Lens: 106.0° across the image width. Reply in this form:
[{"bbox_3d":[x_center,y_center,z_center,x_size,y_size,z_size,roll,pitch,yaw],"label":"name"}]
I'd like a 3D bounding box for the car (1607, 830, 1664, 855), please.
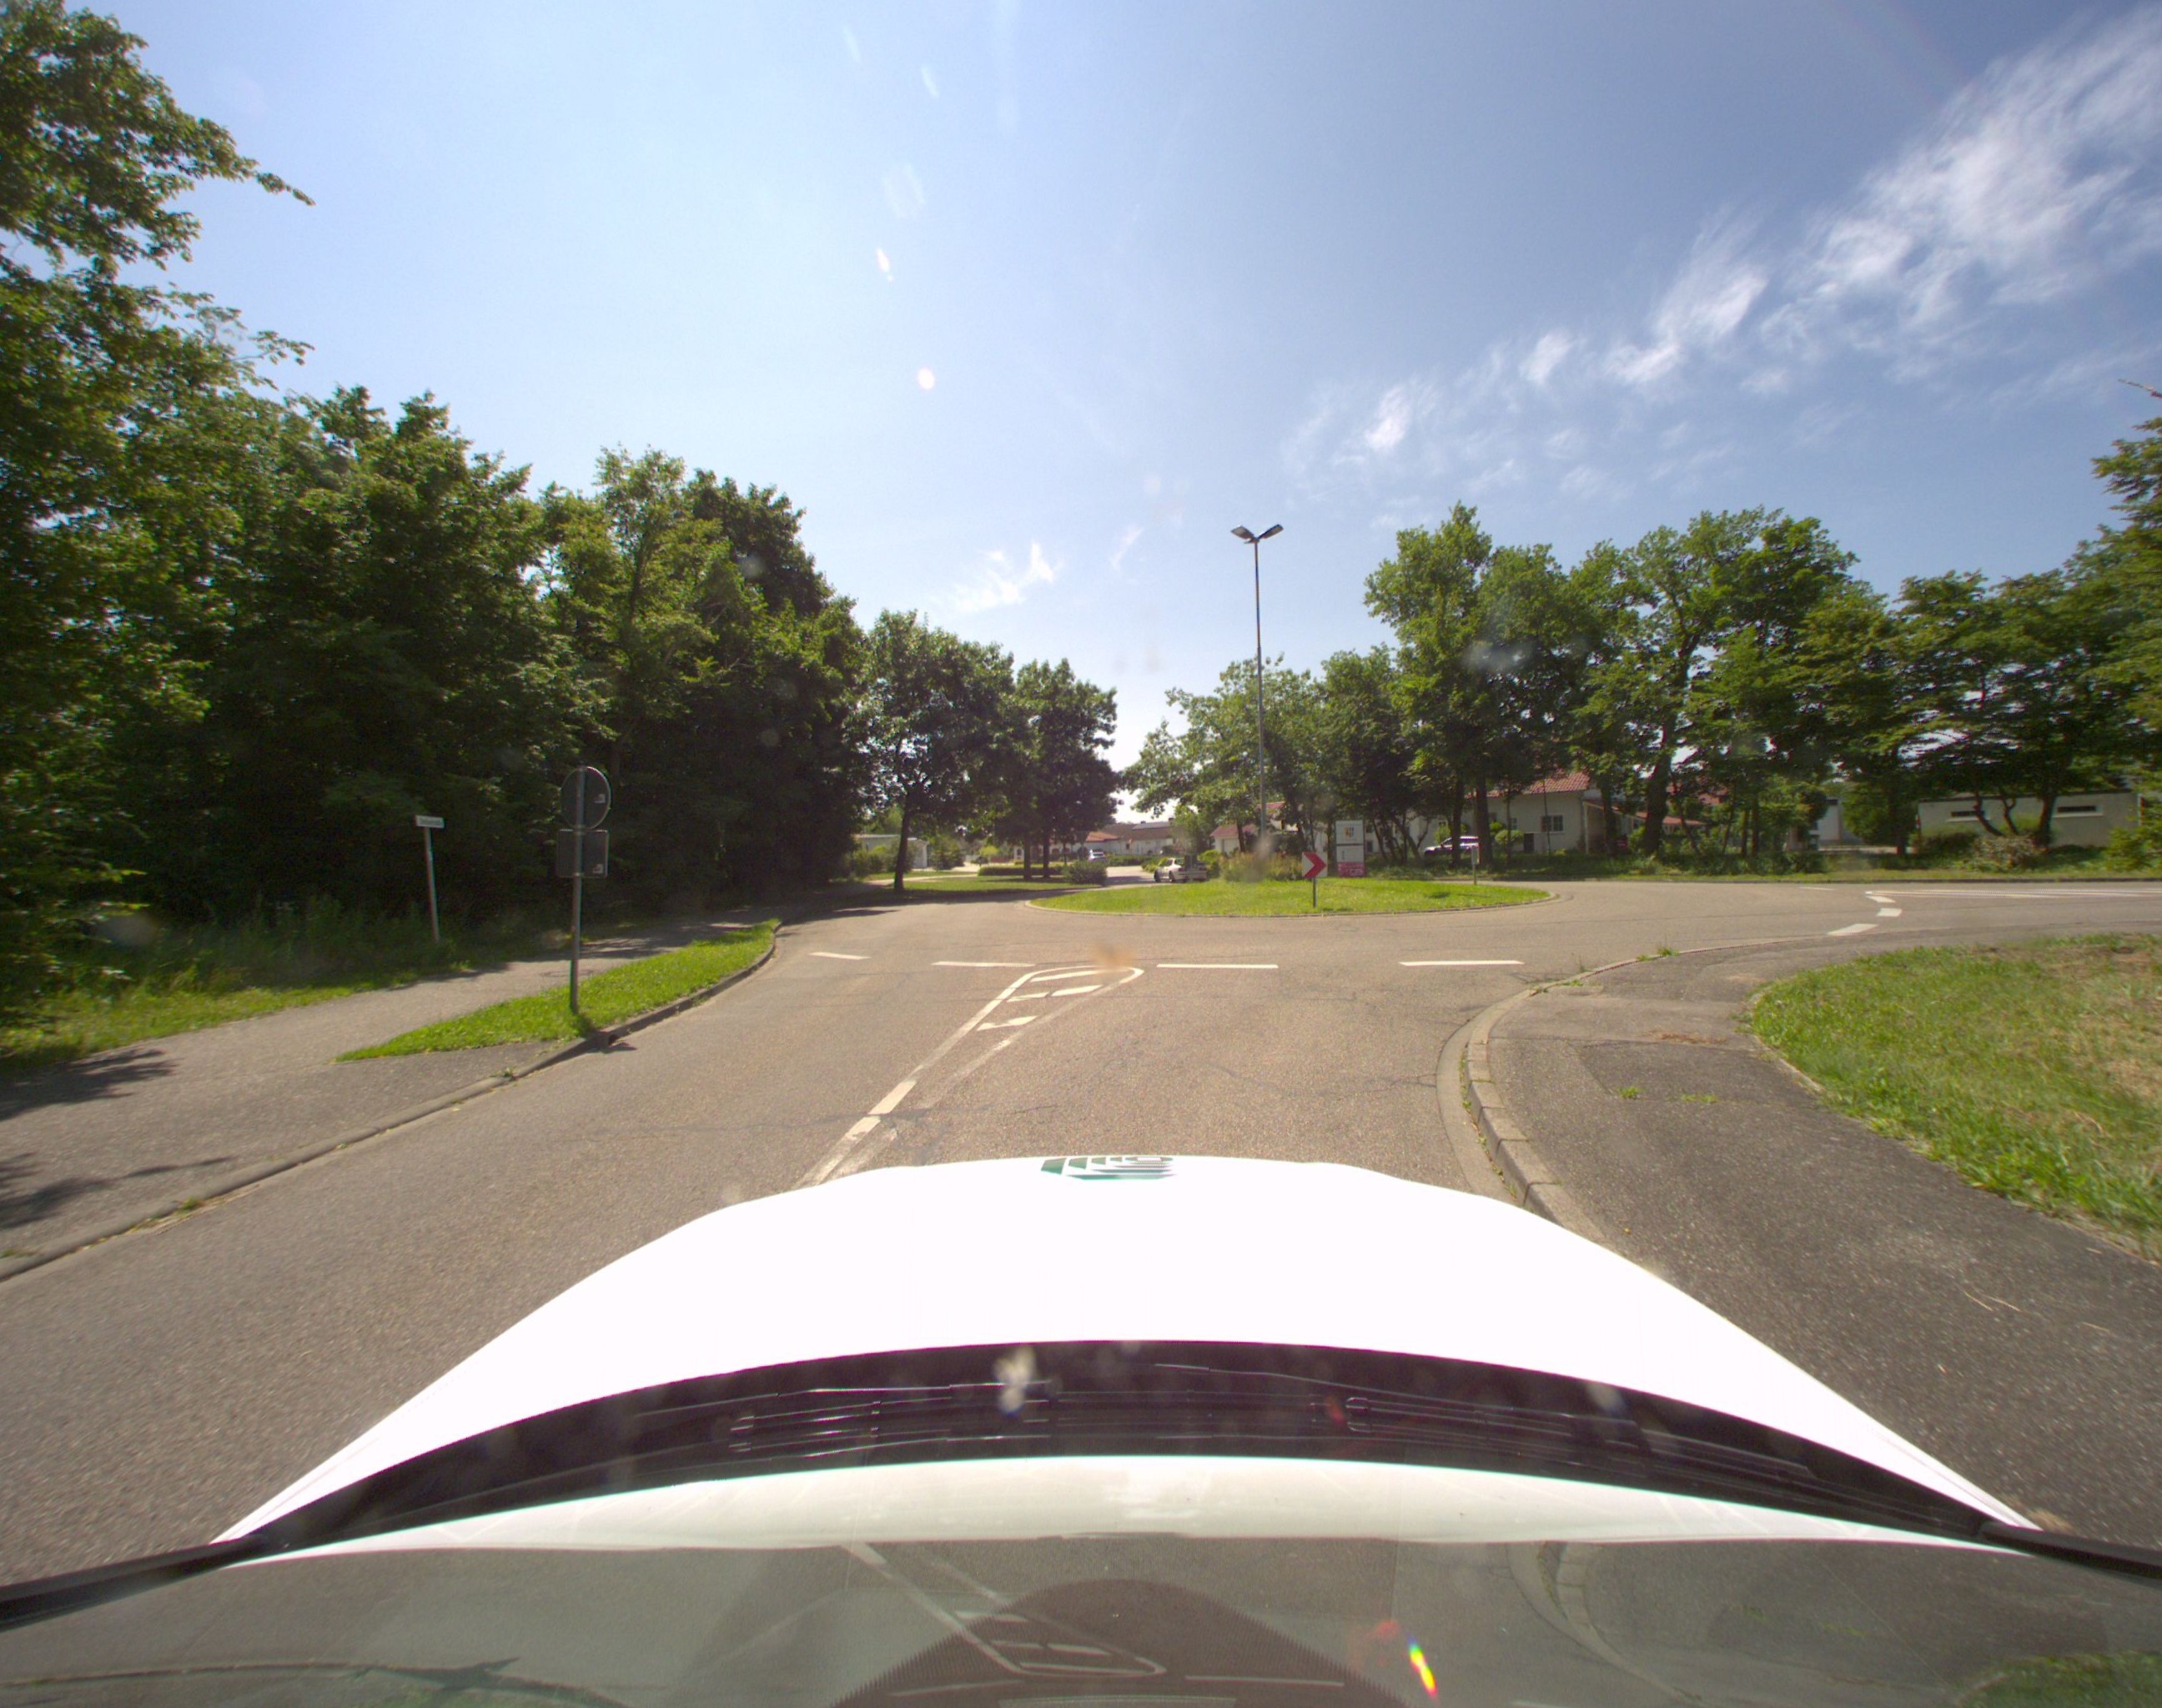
[{"bbox_3d":[33.338,-0.705,48.928,3.710,1.385,1.666,-2,0,-36],"label":"car"}]

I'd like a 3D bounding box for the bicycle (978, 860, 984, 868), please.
[{"bbox_3d":[-11.718,1.168,95.271,0.596,0.929,1.616,-2,0,-7],"label":"bicycle"}]

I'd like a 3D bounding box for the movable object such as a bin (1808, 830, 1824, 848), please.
[{"bbox_3d":[47.060,-0.953,52.121,0.459,1.112,0.651,-2,0,-40],"label":"movable object such as a bin"}]

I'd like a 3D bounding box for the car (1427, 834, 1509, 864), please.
[{"bbox_3d":[23.437,-0.273,49.433,1.674,1.705,4.095,-1,0,-39],"label":"car"}]

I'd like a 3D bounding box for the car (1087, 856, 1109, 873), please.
[{"bbox_3d":[1.611,0.951,77.578,1.626,1.486,3.992,-2,0,-6],"label":"car"}]

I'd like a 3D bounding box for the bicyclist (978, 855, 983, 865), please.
[{"bbox_3d":[-11.740,0.692,95.323,0.596,1.164,0.647,-2,0,-7],"label":"bicyclist"}]

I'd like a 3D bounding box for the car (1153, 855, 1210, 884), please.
[{"bbox_3d":[4.901,0.752,40.221,1.616,1.288,3.540,-2,0,-13],"label":"car"}]
